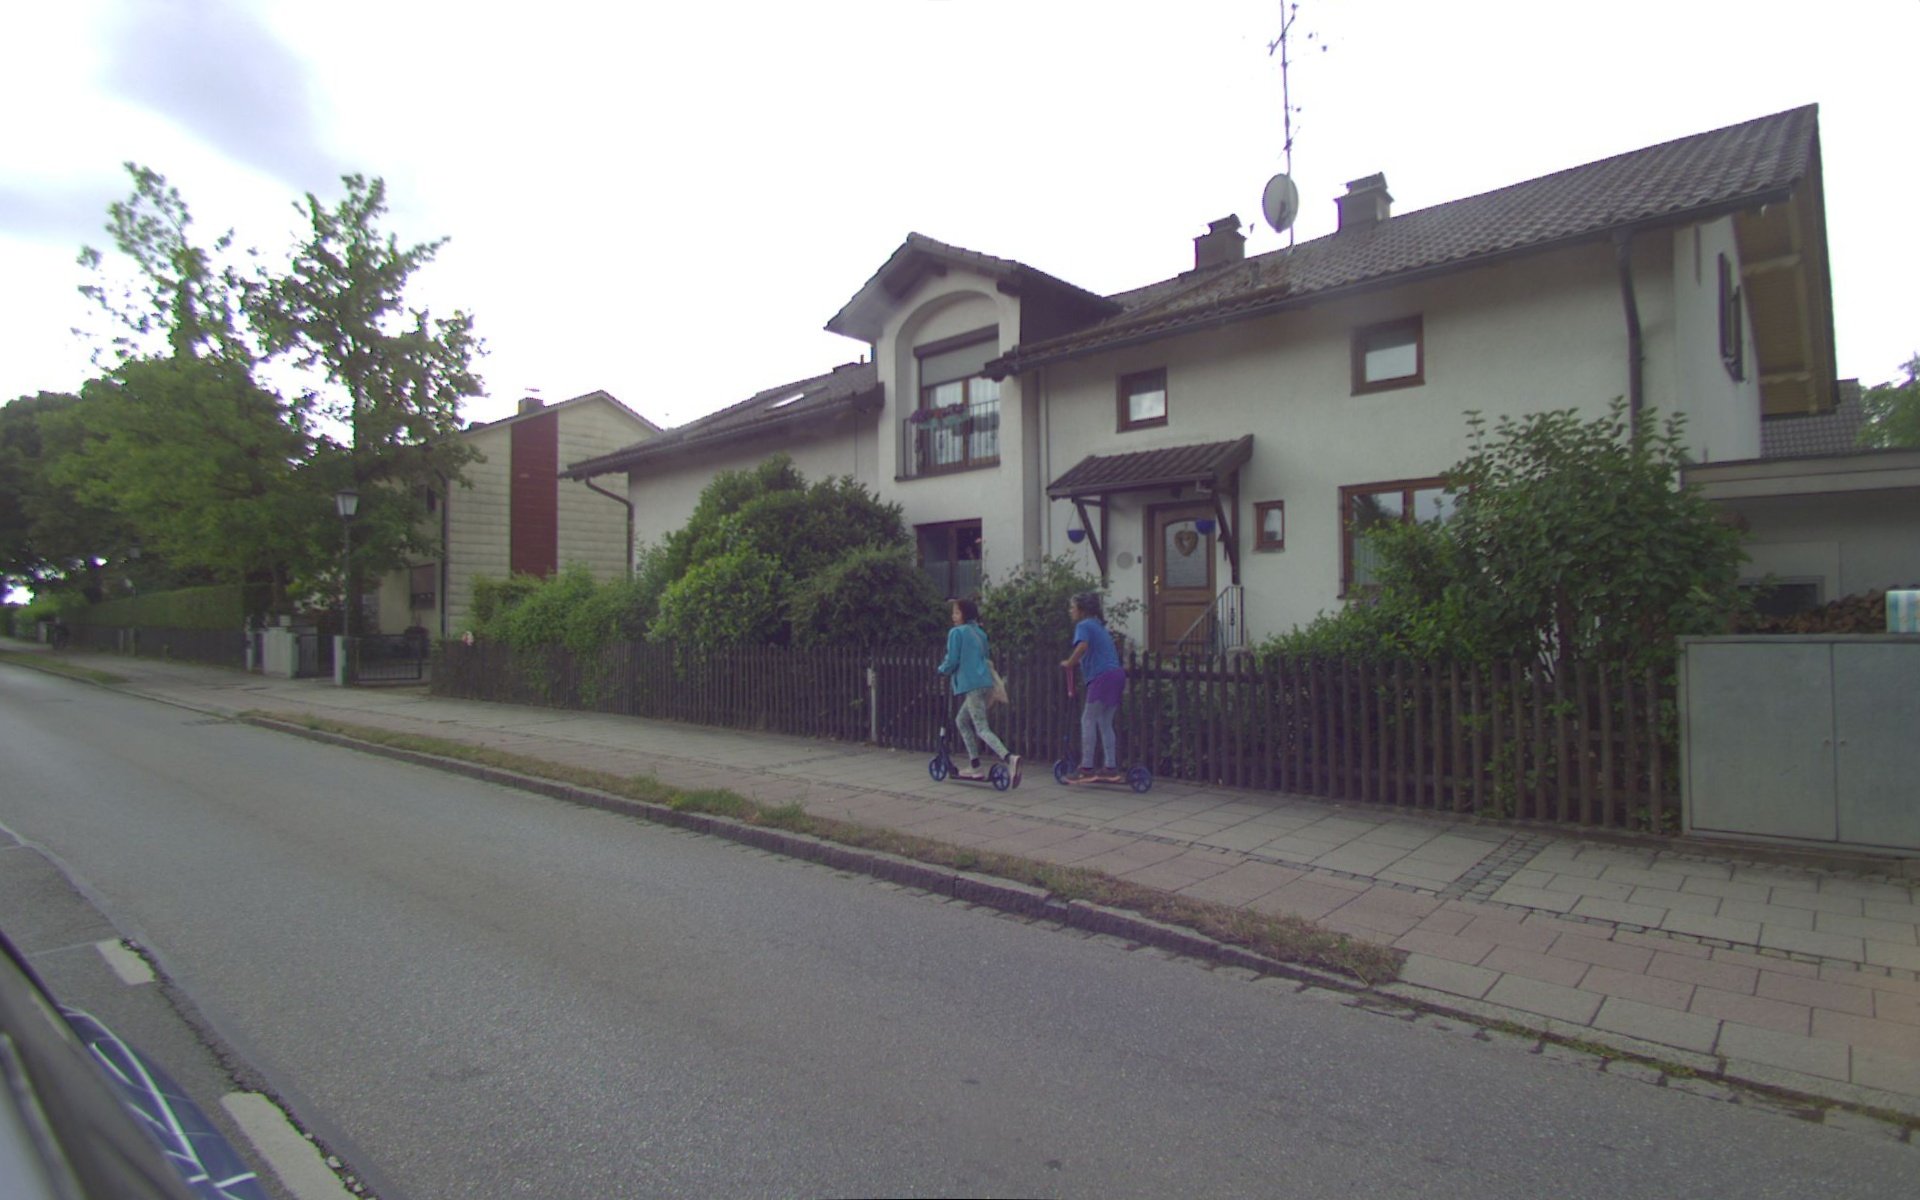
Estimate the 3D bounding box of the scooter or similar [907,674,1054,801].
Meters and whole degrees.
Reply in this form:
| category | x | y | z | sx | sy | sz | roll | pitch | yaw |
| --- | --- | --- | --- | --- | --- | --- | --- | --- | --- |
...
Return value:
| category | x | y | z | sx | sy | sz | roll | pitch | yaw |
| --- | --- | --- | --- | --- | --- | --- | --- | --- | --- |
| scooter or similar | 0.146 | 1.030 | 7.828 | 1.061 | 0.856 | 0.516 | -2 | -1 | 42 |

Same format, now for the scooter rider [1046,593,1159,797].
| category | x | y | z | sx | sy | sz | roll | pitch | yaw |
| --- | --- | --- | --- | --- | --- | --- | --- | --- | --- |
| scooter rider | 1.102 | 0.698 | 7.810 | 0.580 | 1.484 | 0.655 | -2 | -1 | 42 |

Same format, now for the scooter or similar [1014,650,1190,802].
| category | x | y | z | sx | sy | sz | roll | pitch | yaw |
| --- | --- | --- | --- | --- | --- | --- | --- | --- | --- |
| scooter or similar | 1.084 | 0.922 | 7.825 | 1.178 | 1.045 | 0.654 | -2 | -2 | 43 |

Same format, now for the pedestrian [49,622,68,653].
| category | x | y | z | sx | sy | sz | roll | pitch | yaw |
| --- | --- | --- | --- | --- | --- | --- | --- | --- | --- |
| pedestrian | -43.098 | 1.801 | 48.372 | 0.563 | 1.448 | 0.622 | -2 | -2 | 41 |

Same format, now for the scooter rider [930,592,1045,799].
| category | x | y | z | sx | sy | sz | roll | pitch | yaw |
| --- | --- | --- | --- | --- | --- | --- | --- | --- | --- |
| scooter rider | 0.208 | 0.703 | 7.773 | 0.716 | 1.501 | 0.497 | -2 | -1 | 41 |
